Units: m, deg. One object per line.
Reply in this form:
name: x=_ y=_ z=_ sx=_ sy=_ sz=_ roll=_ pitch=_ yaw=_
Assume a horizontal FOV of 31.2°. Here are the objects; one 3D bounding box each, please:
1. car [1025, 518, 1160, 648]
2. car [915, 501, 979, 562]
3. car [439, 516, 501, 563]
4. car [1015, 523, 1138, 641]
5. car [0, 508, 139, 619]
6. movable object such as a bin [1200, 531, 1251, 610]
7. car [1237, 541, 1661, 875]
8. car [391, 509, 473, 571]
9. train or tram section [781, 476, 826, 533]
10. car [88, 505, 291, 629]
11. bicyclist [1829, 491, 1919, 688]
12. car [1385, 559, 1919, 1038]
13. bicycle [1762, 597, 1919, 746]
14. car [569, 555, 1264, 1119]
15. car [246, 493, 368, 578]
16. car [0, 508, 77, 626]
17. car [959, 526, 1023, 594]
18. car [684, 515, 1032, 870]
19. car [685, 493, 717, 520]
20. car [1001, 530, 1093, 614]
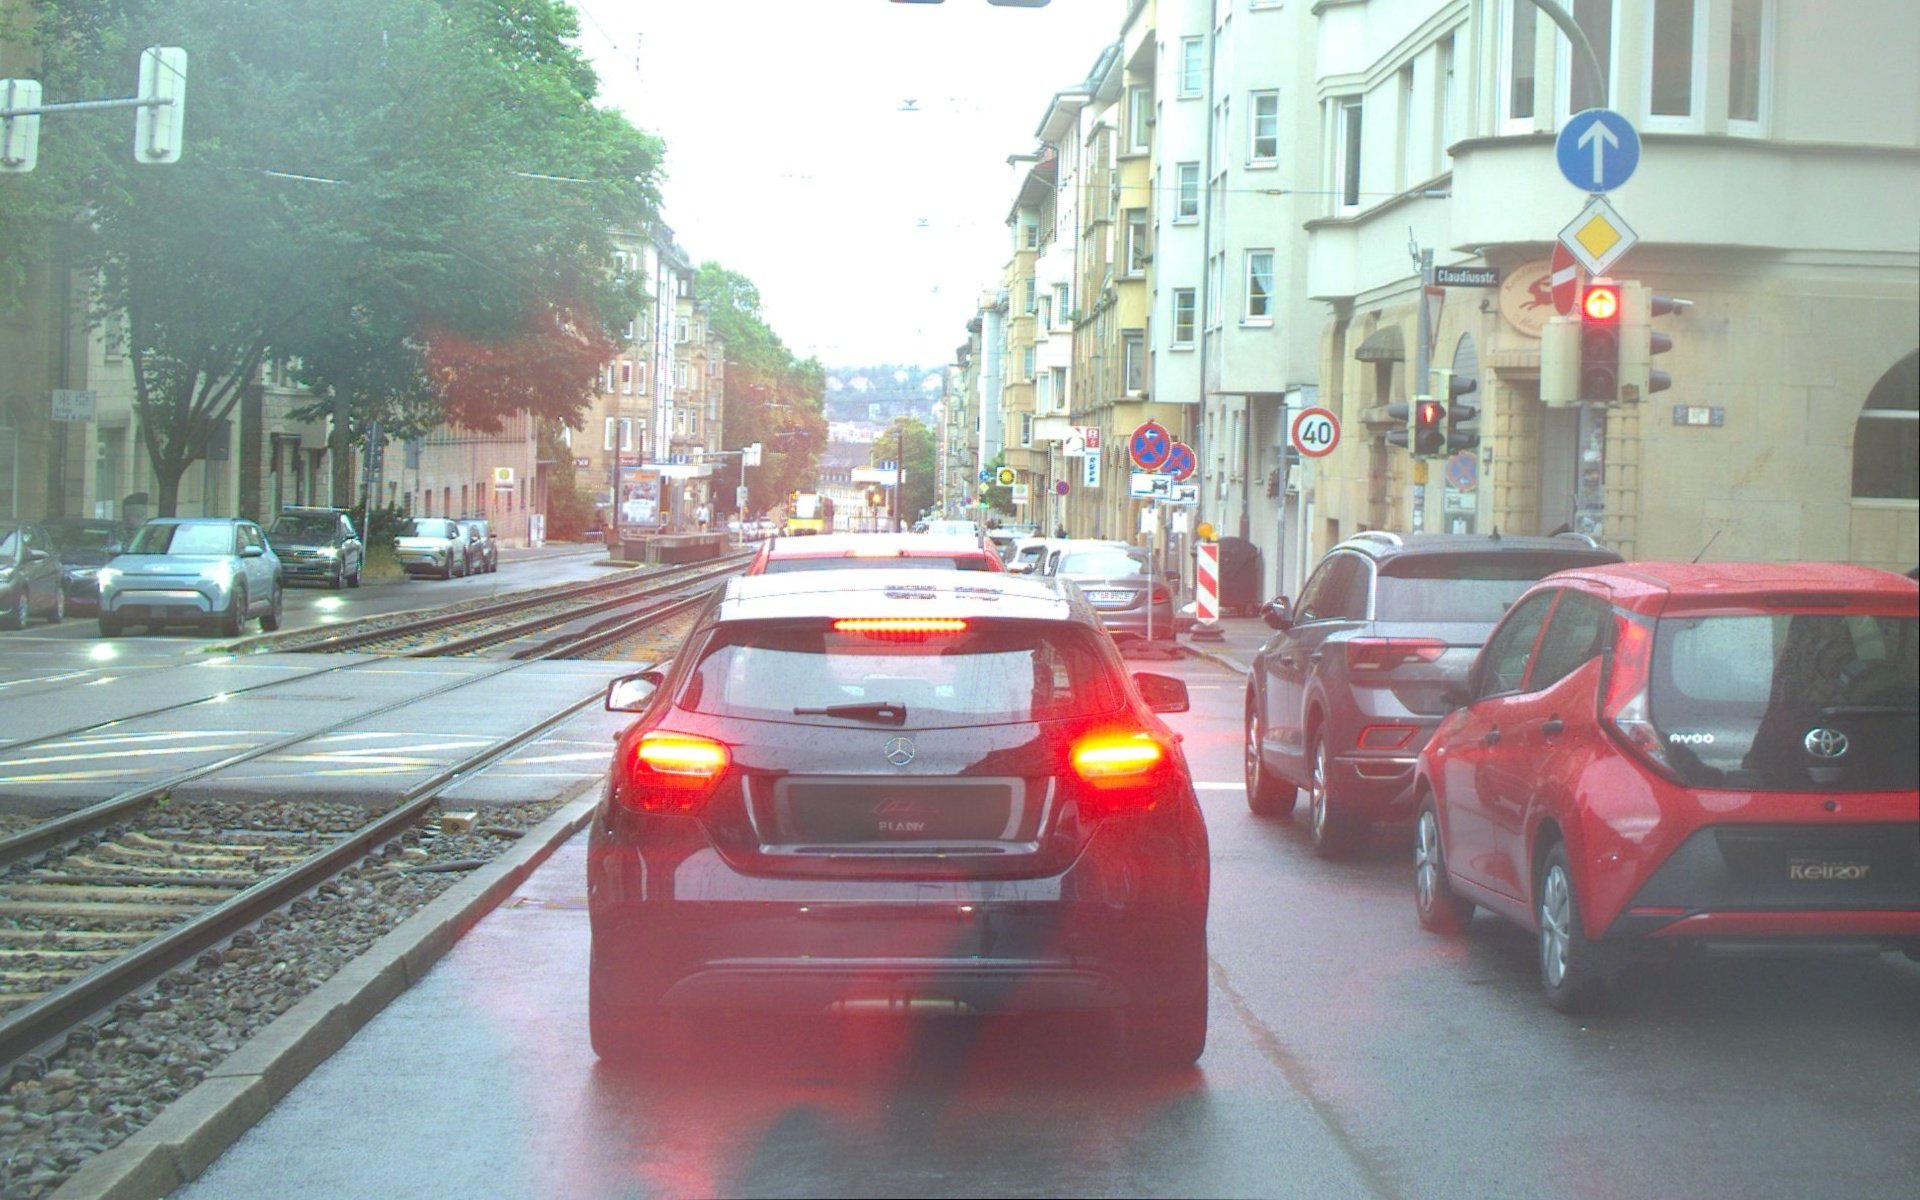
car: x=1.677 y=-0.239 z=44.412 sx=1.544 sy=1.585 sz=3.548 roll=1 pitch=1 yaw=-1
car: x=-0.430 y=-2.163 z=109.675 sx=1.993 sy=1.870 sz=4.000 roll=1 pitch=0 yaw=-1
car: x=-14.288 y=-1.766 z=100.357 sx=1.448 sy=1.326 sz=3.272 roll=1 pitch=0 yaw=-2
car: x=1.625 y=-0.276 z=48.887 sx=1.544 sy=1.585 sz=3.548 roll=1 pitch=1 yaw=-1
car: x=-13.721 y=-0.555 z=52.506 sx=1.716 sy=1.605 sz=3.919 roll=1 pitch=0 yaw=-5
movable object such as a bin: x=4.734 y=-0.532 z=61.341 sx=0.878 sy=1.384 sz=0.982 roll=1 pitch=0 yaw=3
car: x=2.376 y=0.458 z=17.534 sx=1.544 sy=1.481 sz=3.830 roll=1 pitch=1 yaw=-1
car: x=-13.951 y=-1.579 z=90.948 sx=1.589 sy=1.575 sz=3.918 roll=1 pitch=0 yaw=-1
train or tram section: x=-11.225 y=-6.792 z=246.916 sx=2.783 sy=3.847 sz=10.430 roll=1 pitch=0 yaw=-1
car: x=-10.447 y=-0.448 z=46.859 sx=1.898 sy=1.582 sz=3.973 roll=1 pitch=0 yaw=-1
bicyclist: x=7.835 y=-0.085 z=28.258 sx=1.250 sy=1.592 sz=0.887 roll=1 pitch=0 yaw=9
car: x=2.635 y=0.602 z=12.296 sx=1.642 sy=1.443 sz=3.299 roll=1 pitch=1 yaw=-3
bicycle: x=7.683 y=0.586 z=28.299 sx=2.031 sy=1.182 sz=0.826 roll=1 pitch=0 yaw=9
car: x=-0.141 y=0.608 z=11.230 sx=1.829 sy=1.453 sz=4.104 roll=1 pitch=1 yaw=-1
car: x=-13.926 y=-1.361 z=73.484 sx=1.875 sy=1.731 sz=3.918 roll=1 pitch=0 yaw=-1
car: x=-13.472 y=-0.466 z=47.475 sx=1.752 sy=1.547 sz=4.036 roll=1 pitch=0 yaw=-4
car: x=0.666 y=-0.888 z=75.366 sx=1.294 sy=1.437 sz=2.929 roll=1 pitch=1 yaw=-1
car: x=-0.489 y=0.405 z=17.617 sx=1.565 sy=1.604 sz=3.814 roll=1 pitch=0 yaw=-1
car: x=-12.382 y=-4.460 z=164.306 sx=1.377 sy=1.245 sz=3.298 roll=1 pitch=0 yaw=-2
car: x=1.577 y=-0.530 z=63.296 sx=1.544 sy=1.481 sz=3.548 roll=1 pitch=1 yaw=-1
